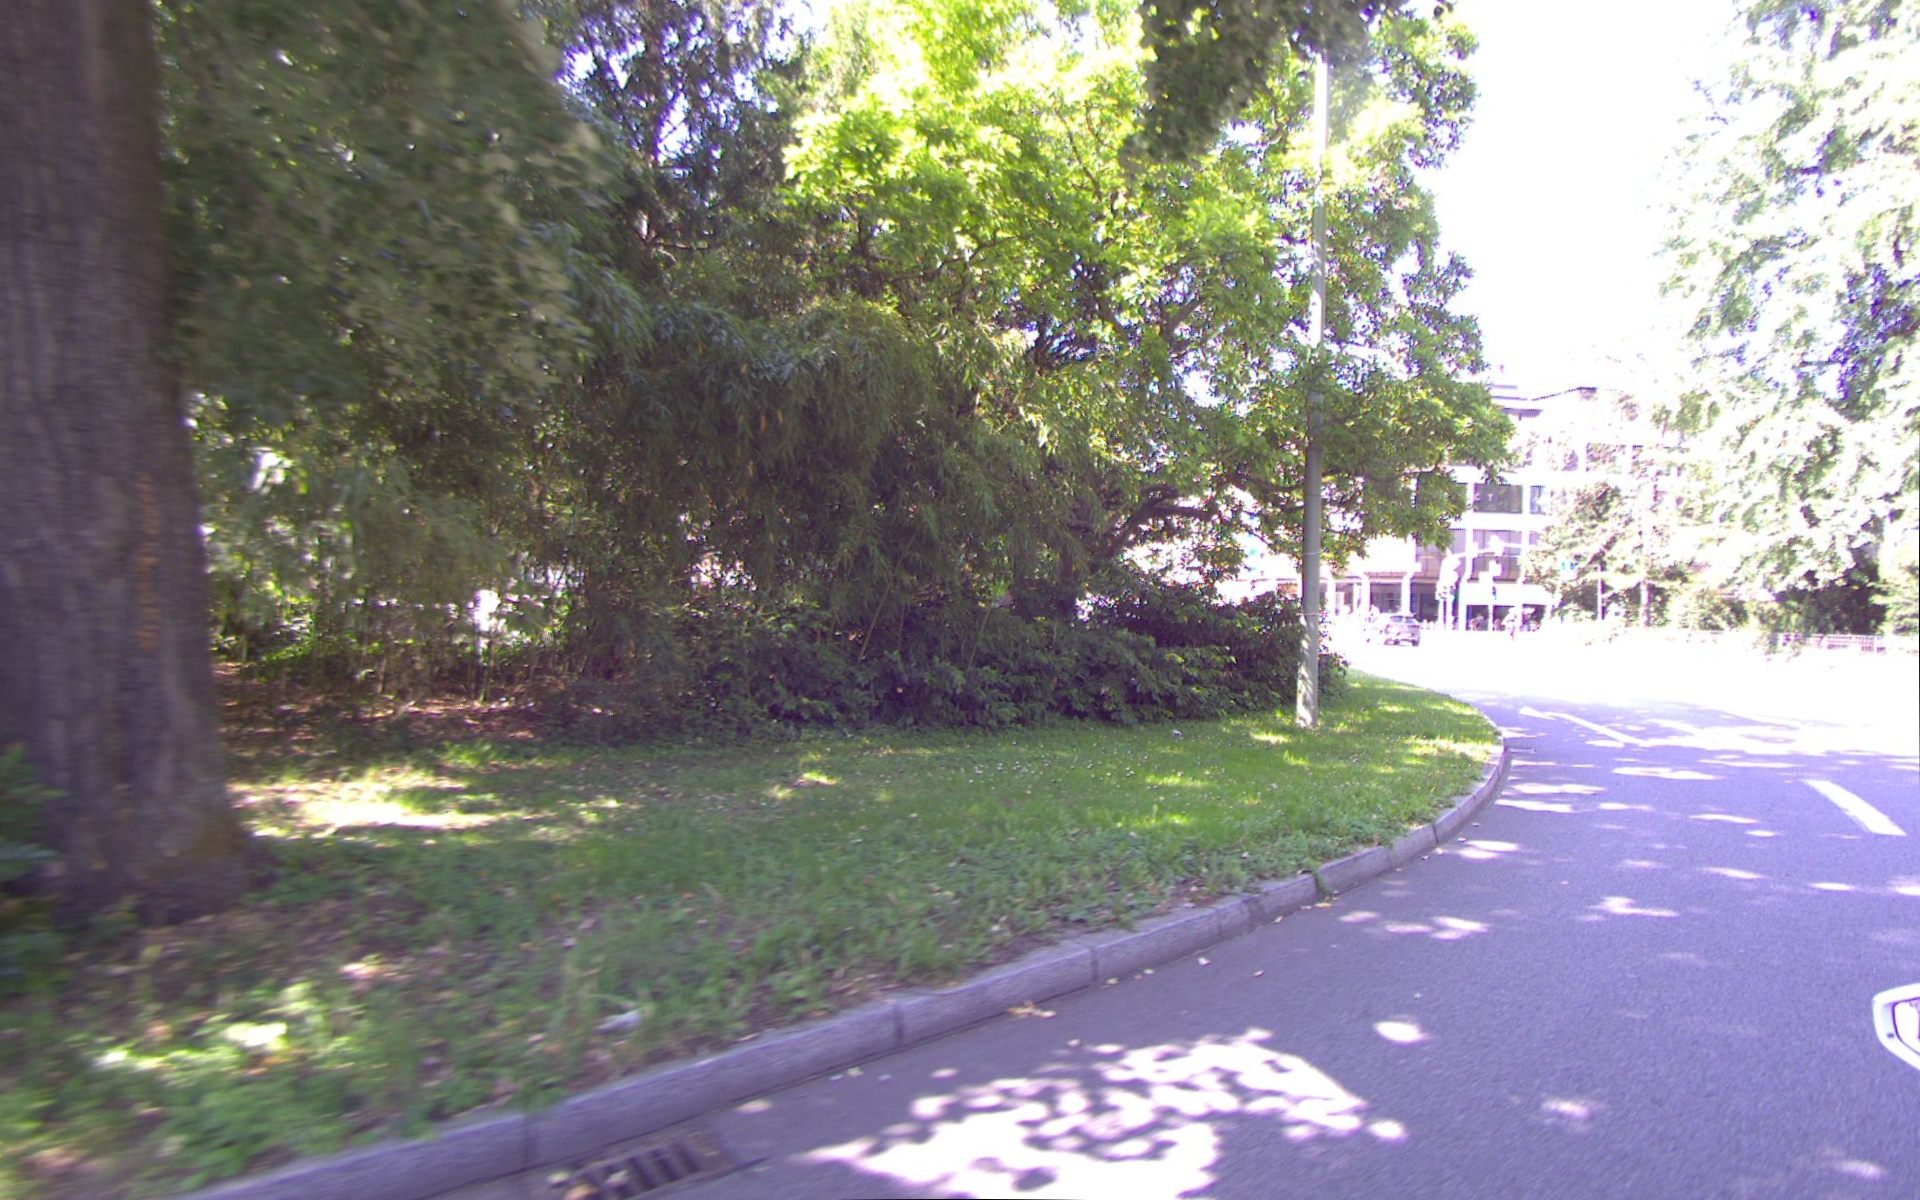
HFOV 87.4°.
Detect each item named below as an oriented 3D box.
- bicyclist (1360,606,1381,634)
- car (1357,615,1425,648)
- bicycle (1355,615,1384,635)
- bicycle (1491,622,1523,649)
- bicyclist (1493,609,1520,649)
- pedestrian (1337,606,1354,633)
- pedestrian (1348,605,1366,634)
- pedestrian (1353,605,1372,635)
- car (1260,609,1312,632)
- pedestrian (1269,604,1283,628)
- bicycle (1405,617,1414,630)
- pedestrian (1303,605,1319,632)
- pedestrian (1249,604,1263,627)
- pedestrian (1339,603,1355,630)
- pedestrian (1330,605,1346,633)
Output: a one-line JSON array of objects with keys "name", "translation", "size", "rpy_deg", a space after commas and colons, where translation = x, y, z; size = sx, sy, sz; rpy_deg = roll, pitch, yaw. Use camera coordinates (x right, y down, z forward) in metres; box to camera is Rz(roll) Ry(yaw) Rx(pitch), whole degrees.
[{"name": "bicyclist", "translation": [26.343, 1.297, 64.500], "size": [0.738, 1.771, 1.129], "rpy_deg": [1, 1, -5]}, {"name": "car", "translation": [21.408, 1.525, 50.066], "size": [1.914, 1.558, 4.084], "rpy_deg": [1, 0, 5]}, {"name": "bicycle", "translation": [26.320, 1.590, 64.600], "size": [0.716, 1.195, 2.324], "rpy_deg": [2, 0, -5]}, {"name": "bicycle", "translation": [25.618, 1.660, 47.052], "size": [0.839, 1.176, 2.084], "rpy_deg": [1, 0, 16]}, {"name": "bicyclist", "translation": [25.661, 1.350, 47.166], "size": [0.844, 1.820, 1.130], "rpy_deg": [2, 1, 15]}, {"name": "pedestrian", "translation": [26.181, 1.314, 68.244], "size": [0.758, 1.837, 0.829], "rpy_deg": [1, 1, -4]}, {"name": "pedestrian", "translation": [25.428, 1.229, 64.376], "size": [0.758, 1.837, 0.829], "rpy_deg": [1, 1, -4]}, {"name": "pedestrian", "translation": [25.405, 1.240, 63.417], "size": [0.758, 1.837, 0.829], "rpy_deg": [1, 1, -4]}, {"name": "car", "translation": [21.139, 1.289, 65.260], "size": [1.797, 1.428, 3.790], "rpy_deg": [1, 0, -5]}, {"name": "pedestrian", "translation": [24.481, 1.230, 77.723], "size": [0.758, 1.837, 0.829], "rpy_deg": [1, 1, -4]}, {"name": "bicycle", "translation": [32.304, 1.651, 72.224], "size": [0.499, 0.913, 1.522], "rpy_deg": [1, 0, 21]}, {"name": "pedestrian", "translation": [24.324, 1.257, 69.552], "size": [0.758, 1.837, 0.829], "rpy_deg": [1, 1, -4]}, {"name": "pedestrian", "translation": [24.107, 1.261, 81.788], "size": [0.759, 1.837, 0.829], "rpy_deg": [1, 1, -5]}, {"name": "pedestrian", "translation": [28.747, 1.222, 74.633], "size": [0.758, 1.985, 0.829], "rpy_deg": [1, 1, -4]}, {"name": "pedestrian", "translation": [26.085, 1.307, 69.346], "size": [0.758, 1.837, 0.829], "rpy_deg": [1, 1, -4]}]
